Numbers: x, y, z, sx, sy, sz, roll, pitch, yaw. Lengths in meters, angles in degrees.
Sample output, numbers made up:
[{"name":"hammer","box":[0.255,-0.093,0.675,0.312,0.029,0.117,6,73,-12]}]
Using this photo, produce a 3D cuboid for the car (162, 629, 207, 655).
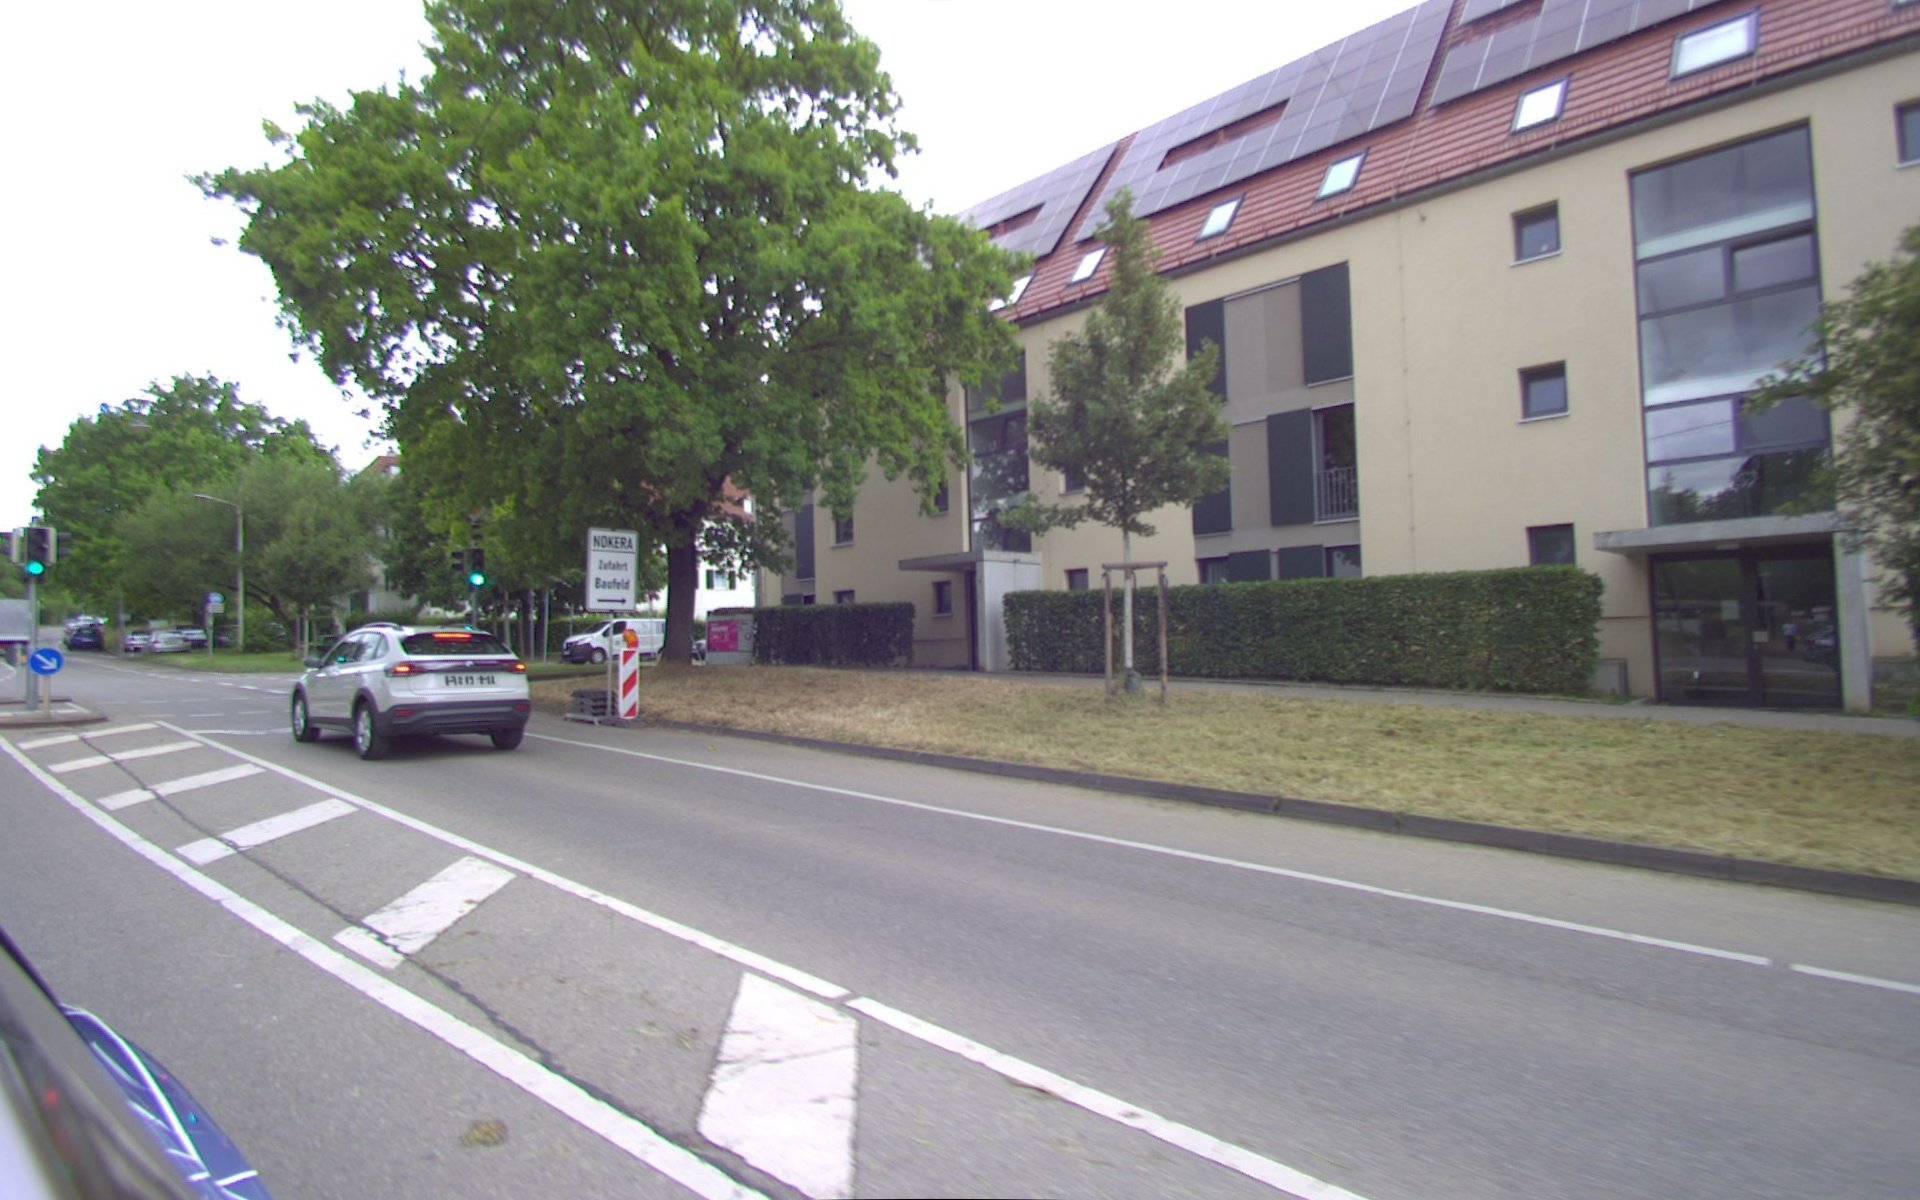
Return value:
[{"name":"car","box":[-50.489,2.726,65.886,1.835,1.618,4.002,0,-1,-45]}]

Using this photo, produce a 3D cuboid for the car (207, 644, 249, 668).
[{"name":"car","box":[-48.369,3.661,66.869,3.874,1.442,1.657,-2,-2,45]}]

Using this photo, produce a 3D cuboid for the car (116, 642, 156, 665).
[{"name":"car","box":[-52.623,3.396,64.612,1.582,1.364,4.002,0,-2,-45]}]

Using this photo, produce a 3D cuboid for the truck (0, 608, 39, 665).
[{"name":"truck","box":[-57.196,2.176,60.672,7.216,3.262,2.340,-2,-3,43]}]

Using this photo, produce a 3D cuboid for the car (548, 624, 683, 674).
[{"name":"car","box":[-14.620,2.042,43.160,2.000,1.932,5.083,-2,-2,44]}]

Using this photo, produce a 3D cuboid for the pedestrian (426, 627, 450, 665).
[{"name":"pedestrian","box":[-24.891,2.194,48.274,0.683,1.770,0.774,-1,-1,12]}]

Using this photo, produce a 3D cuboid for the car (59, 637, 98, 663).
[{"name":"car","box":[-61.092,3.407,70.158,1.969,1.697,4.006,0,-2,-41]}]

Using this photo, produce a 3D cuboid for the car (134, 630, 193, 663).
[{"name":"car","box":[-43.613,2.537,55.355,4.547,1.689,1.971,-2,-2,44]}]

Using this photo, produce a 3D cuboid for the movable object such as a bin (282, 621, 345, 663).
[{"name":"movable object such as a bin","box":[-30.188,1.948,47.223,3.237,1.918,1.088,-2,-1,30]}]

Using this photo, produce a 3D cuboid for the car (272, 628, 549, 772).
[{"name":"car","box":[-6.823,1.106,12.391,4.029,1.475,1.782,-2,-3,43]}]

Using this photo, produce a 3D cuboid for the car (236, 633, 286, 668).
[{"name":"car","box":[-41.297,2.952,59.742,4.002,1.904,1.731,-2,-2,45]}]
